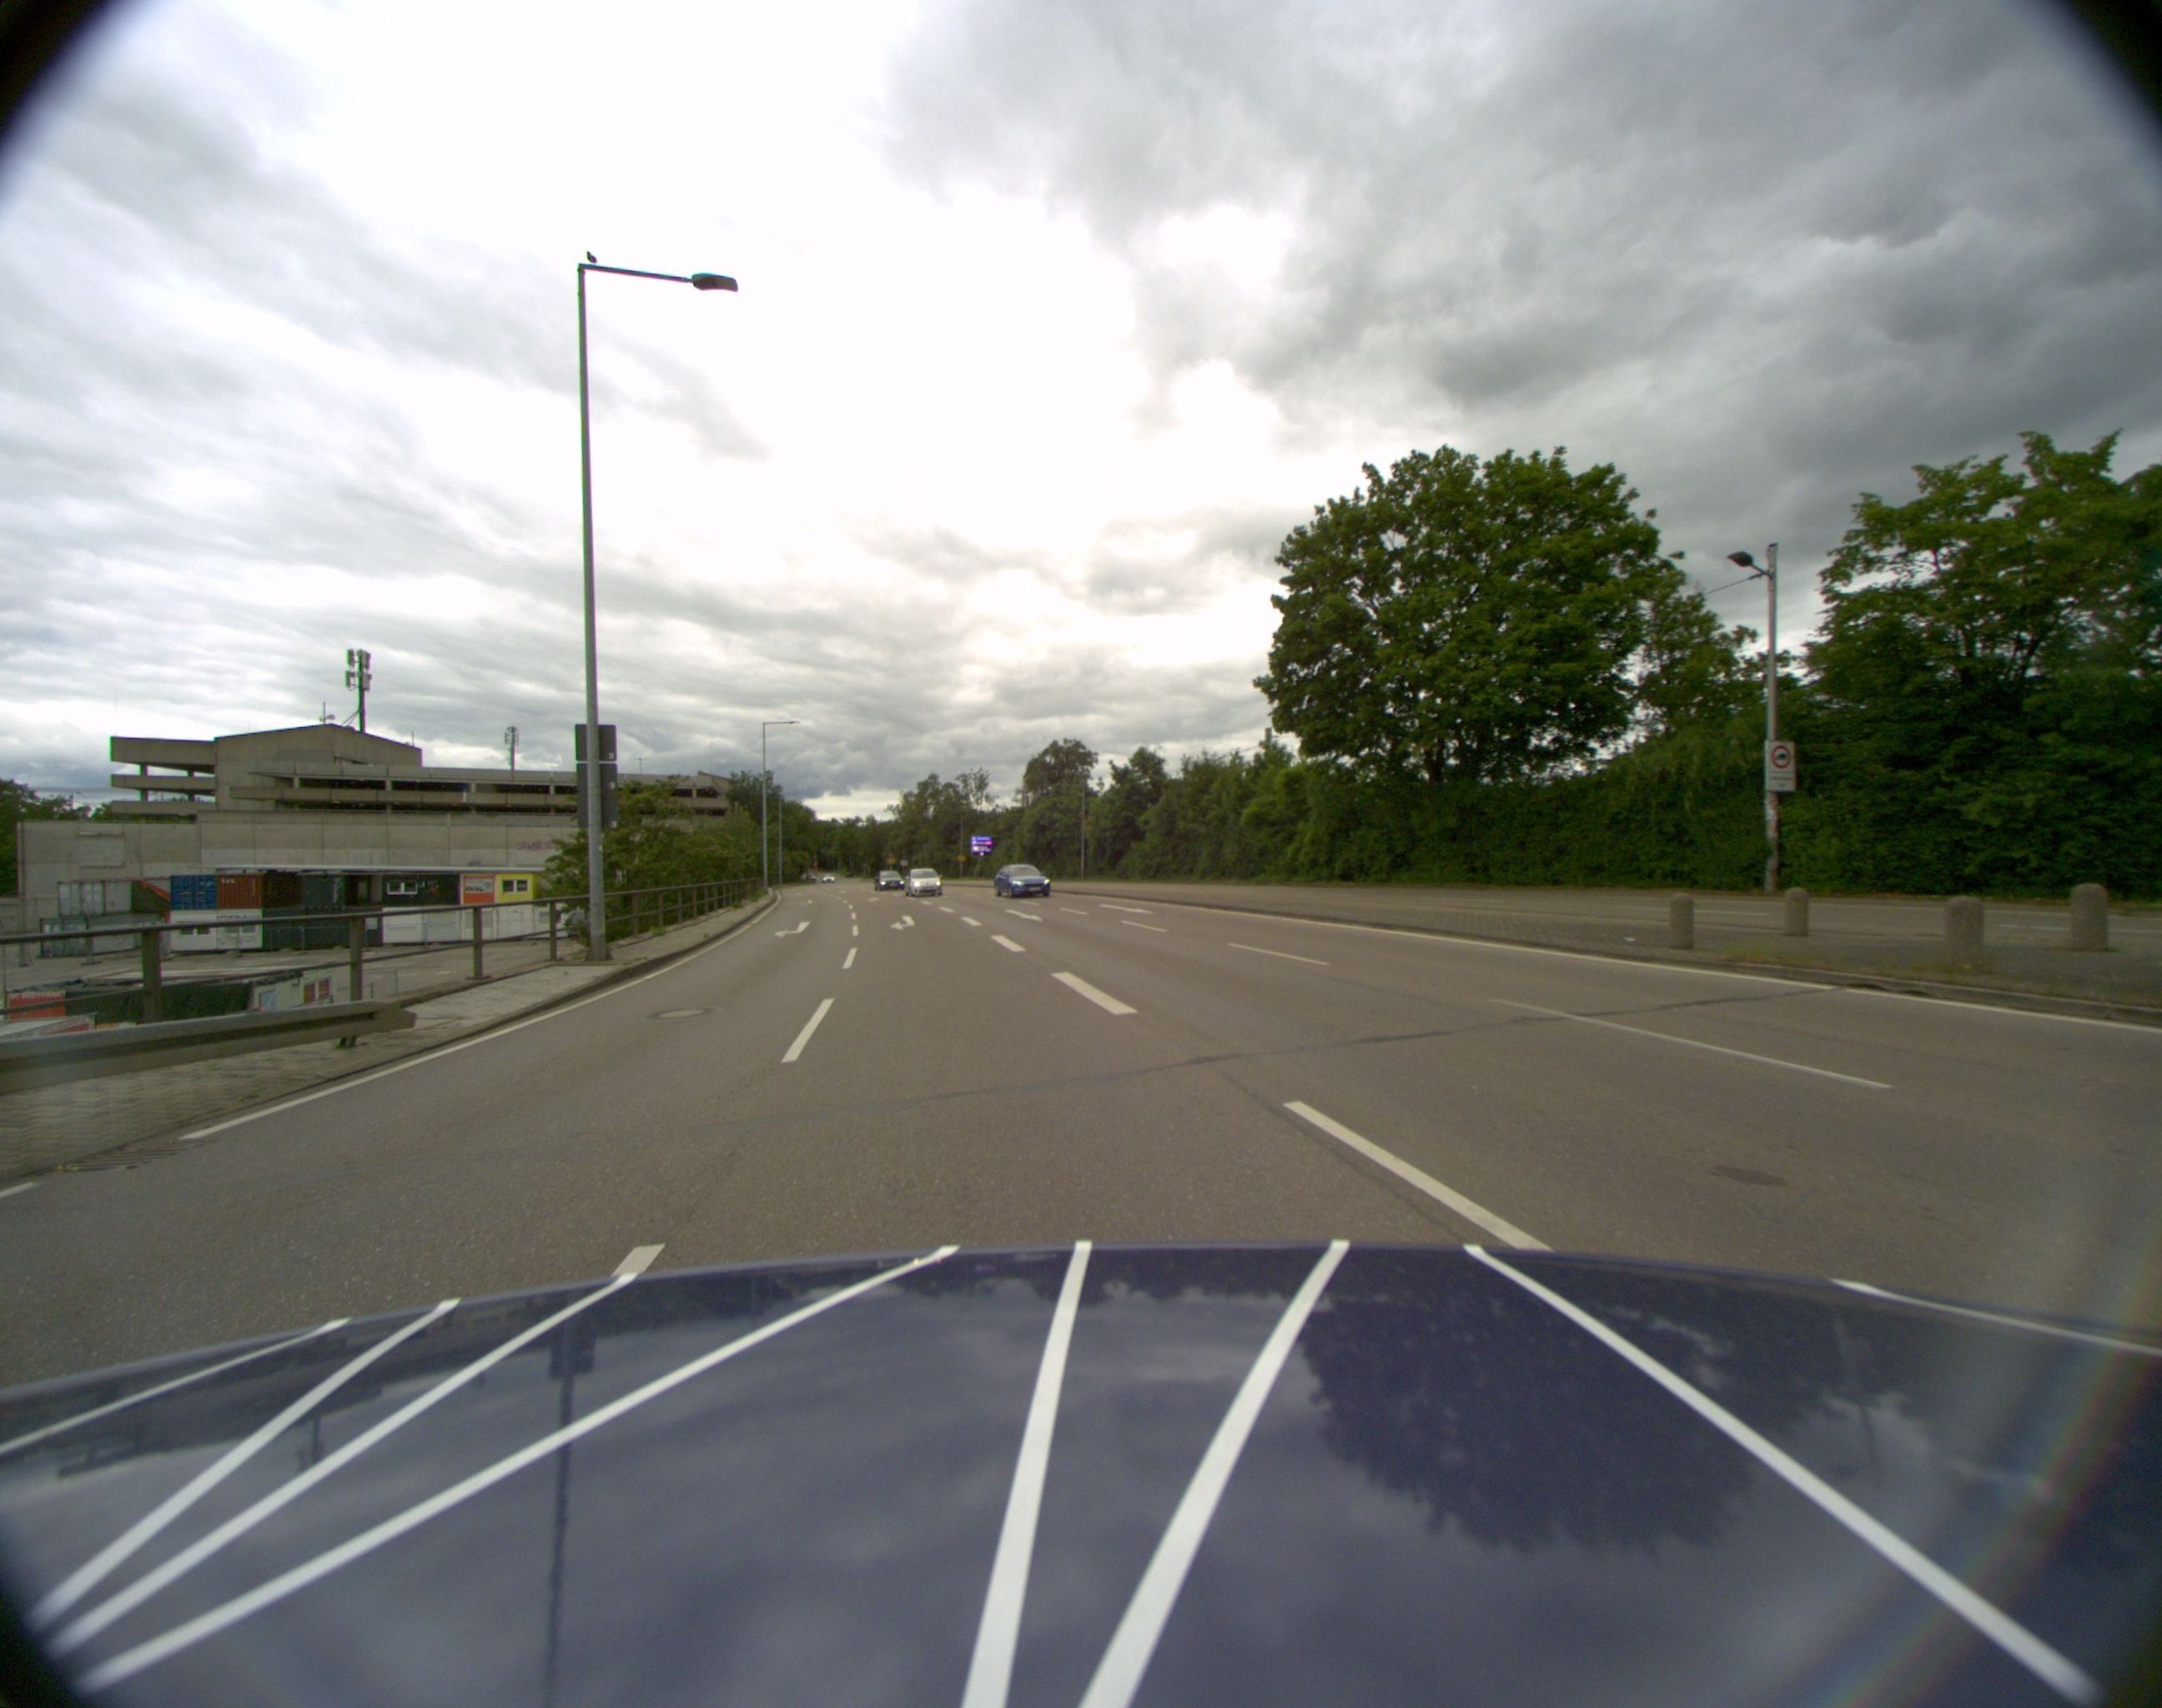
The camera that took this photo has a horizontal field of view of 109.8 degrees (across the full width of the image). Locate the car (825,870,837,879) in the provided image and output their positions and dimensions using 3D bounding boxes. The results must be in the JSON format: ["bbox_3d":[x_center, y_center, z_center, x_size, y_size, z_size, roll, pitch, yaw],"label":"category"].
[{"bbox_3d":[-42.757,3.513,129.686,1.867,1.408,4.332,-2,0,-19],"label":"car"}]

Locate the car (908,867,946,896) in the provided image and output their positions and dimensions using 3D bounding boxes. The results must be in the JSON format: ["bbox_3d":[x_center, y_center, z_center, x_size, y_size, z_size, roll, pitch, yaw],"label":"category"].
[{"bbox_3d":[-8.279,1.434,40.635,1.611,1.408,3.586,-2,0,-17],"label":"car"}]

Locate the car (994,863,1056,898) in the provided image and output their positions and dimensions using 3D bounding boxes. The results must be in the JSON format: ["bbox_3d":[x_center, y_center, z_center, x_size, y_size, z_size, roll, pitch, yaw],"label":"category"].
[{"bbox_3d":[-2.639,1.167,34.879,1.845,1.408,4.574,-2,0,-17],"label":"car"}]

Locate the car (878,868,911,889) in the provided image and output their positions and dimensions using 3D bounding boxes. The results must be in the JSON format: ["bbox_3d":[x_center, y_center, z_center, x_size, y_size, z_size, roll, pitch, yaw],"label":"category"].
[{"bbox_3d":[-13.886,1.774,56.346,1.867,1.408,4.332,-2,0,-20],"label":"car"}]

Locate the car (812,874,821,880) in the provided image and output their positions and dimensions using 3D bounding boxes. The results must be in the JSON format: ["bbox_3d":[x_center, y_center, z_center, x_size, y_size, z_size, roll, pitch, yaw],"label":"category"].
[{"bbox_3d":[-61.746,5.307,177.340,1.868,1.408,4.331,-2,0,-20],"label":"car"}]
